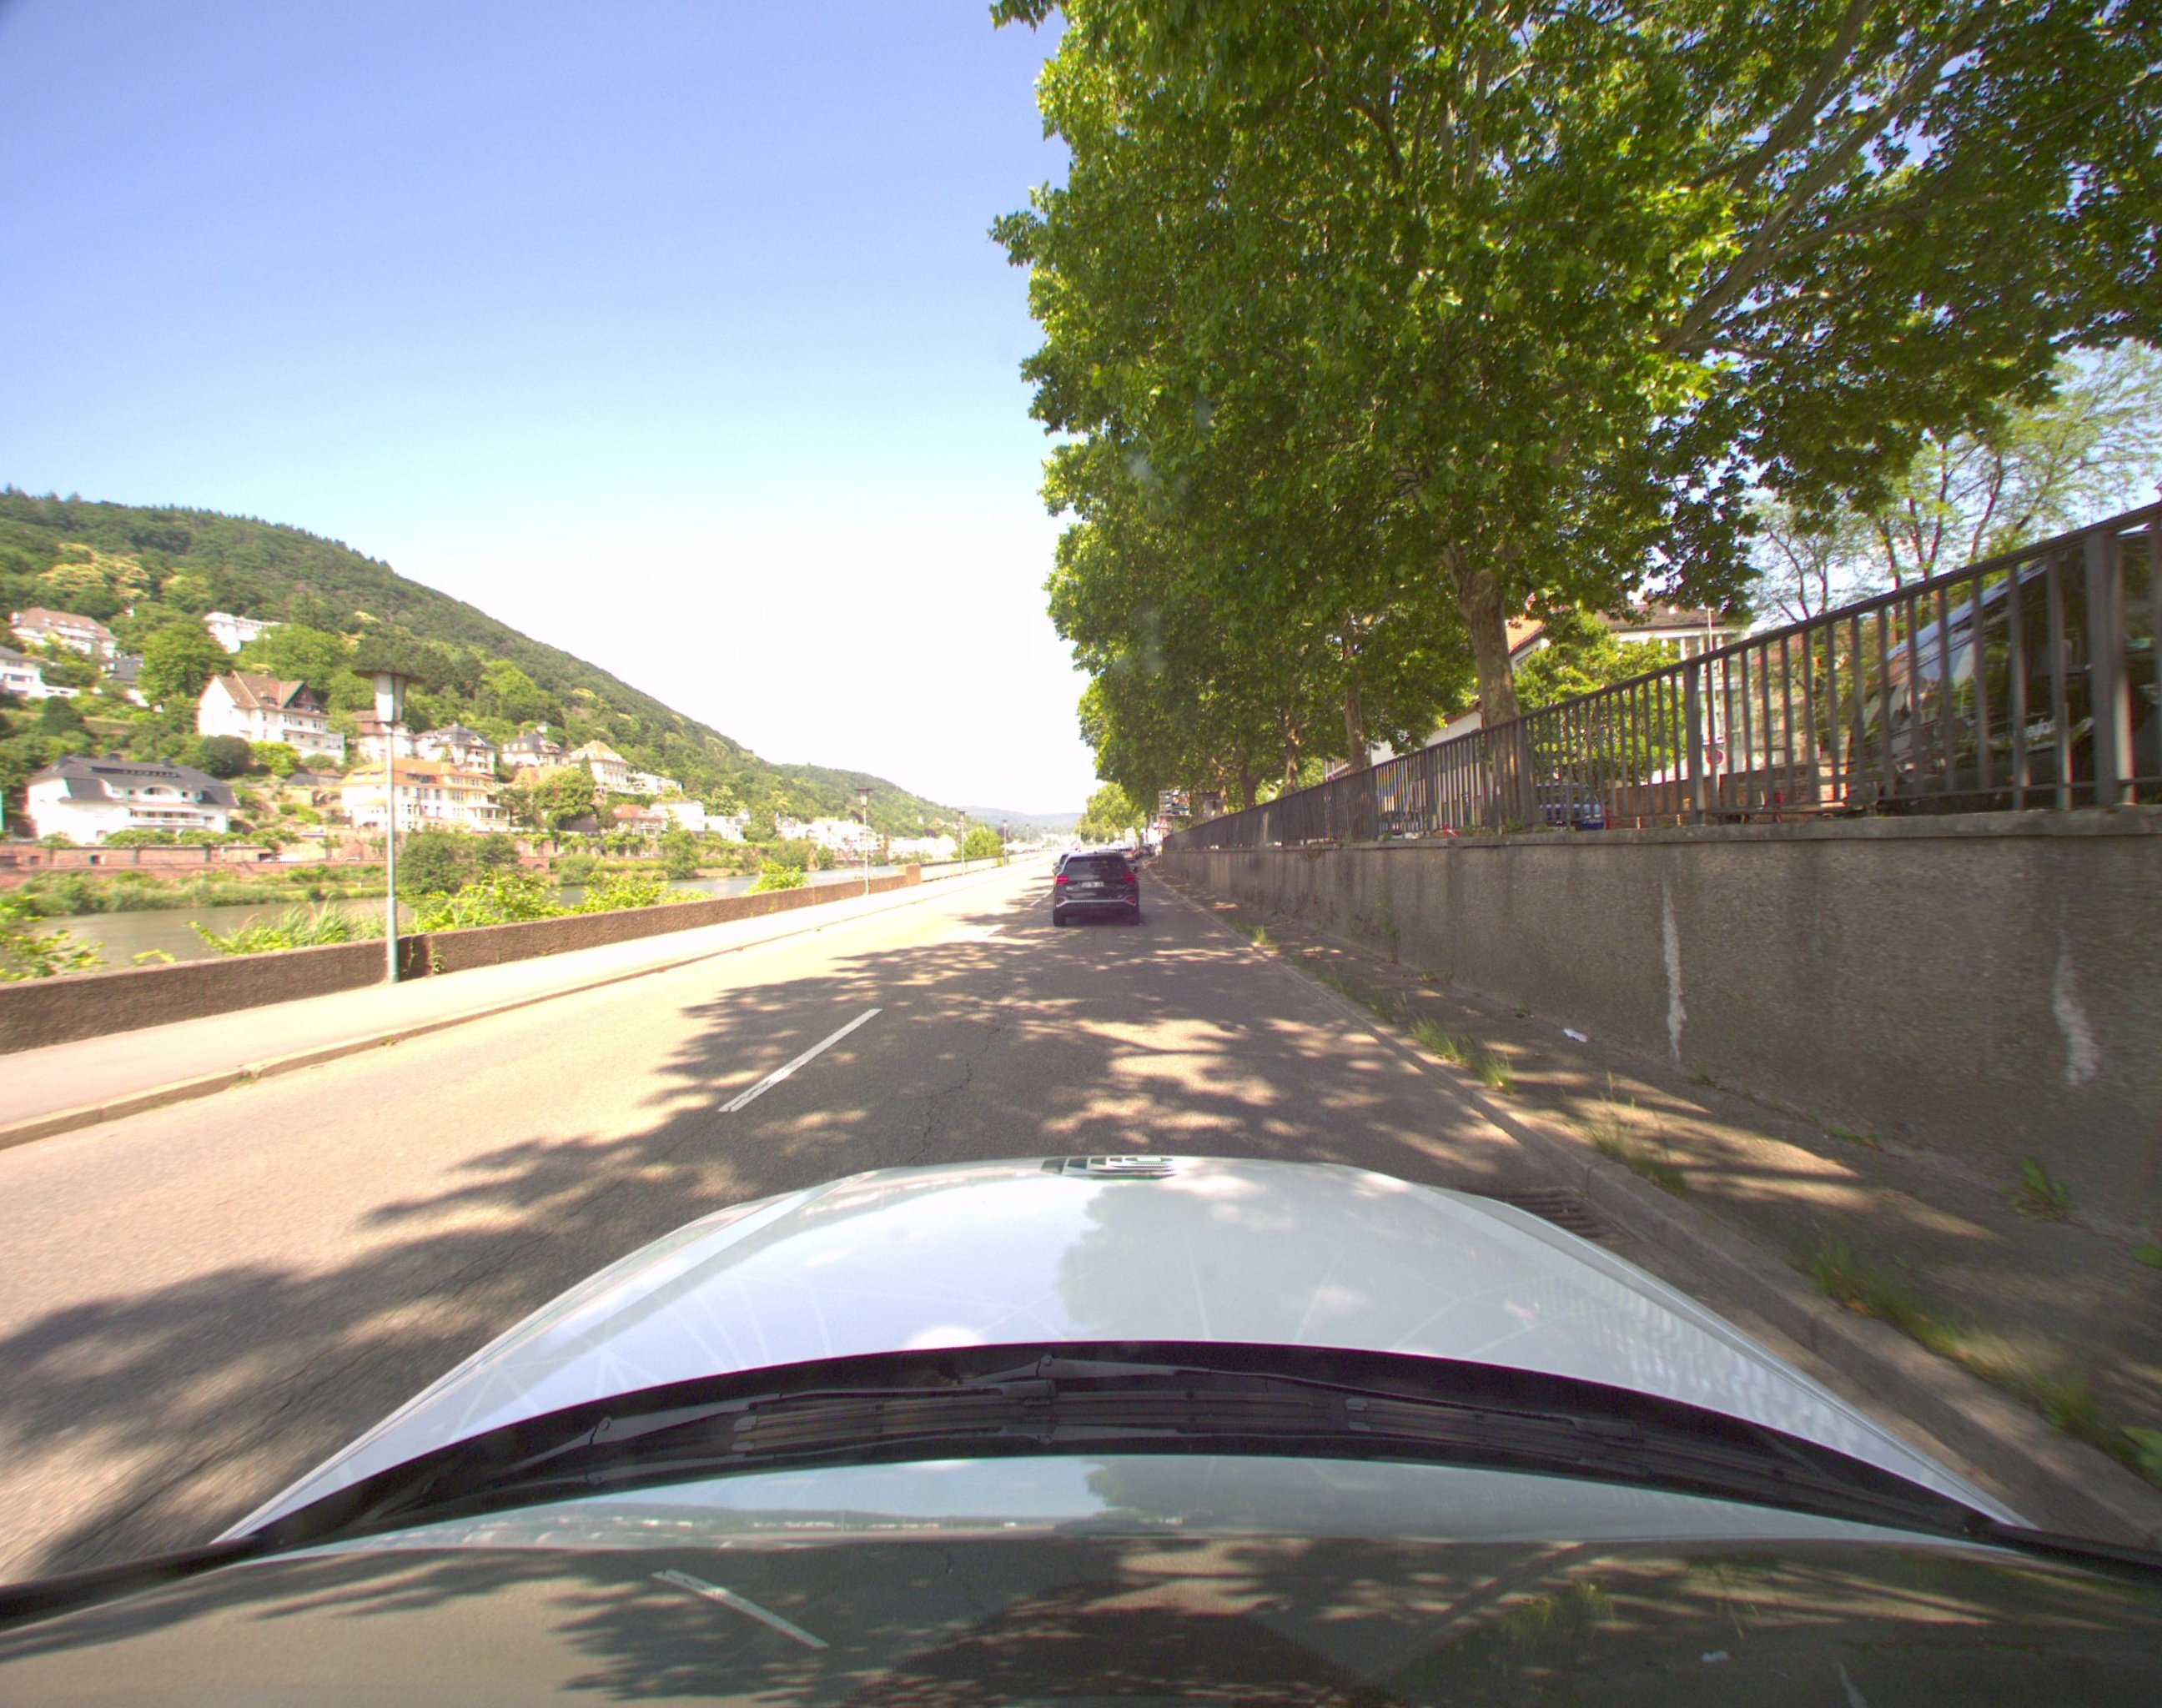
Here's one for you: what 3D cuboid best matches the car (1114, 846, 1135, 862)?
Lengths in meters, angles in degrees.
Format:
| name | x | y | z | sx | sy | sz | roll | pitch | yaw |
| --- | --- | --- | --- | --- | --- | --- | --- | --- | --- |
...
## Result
| name | x | y | z | sx | sy | sz | roll | pitch | yaw |
| --- | --- | --- | --- | --- | --- | --- | --- | --- | --- |
| car | 3.939 | 0.002 | 74.577 | 1.822 | 1.444 | 4.001 | -1 | 0 | 1 |

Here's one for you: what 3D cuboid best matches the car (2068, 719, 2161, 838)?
| name | x | y | z | sx | sy | sz | roll | pitch | yaw |
| --- | --- | --- | --- | --- | --- | --- | --- | --- | --- |
| car | 14.679 | -1.021 | 9.198 | 1.829 | 1.512 | 4.434 | -4 | 0 | 4 |

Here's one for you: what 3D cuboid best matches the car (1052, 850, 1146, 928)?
| name | x | y | z | sx | sy | sz | roll | pitch | yaw |
| --- | --- | --- | --- | --- | --- | --- | --- | --- | --- |
| car | 0.405 | 0.672 | 17.949 | 1.822 | 1.486 | 4.001 | -1 | 0 | 1 |

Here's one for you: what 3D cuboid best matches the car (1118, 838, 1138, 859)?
| name | x | y | z | sx | sy | sz | roll | pitch | yaw |
| --- | --- | --- | --- | --- | --- | --- | --- | --- | --- |
| car | 5.226 | -0.590 | 91.418 | 1.986 | 2.169 | 4.001 | -4 | 0 | 1 |

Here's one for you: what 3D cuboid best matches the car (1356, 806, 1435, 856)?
| name | x | y | z | sx | sy | sz | roll | pitch | yaw |
| --- | --- | --- | --- | --- | --- | --- | --- | --- | --- |
| car | 10.298 | -0.713 | 26.519 | 1.757 | 1.469 | 4.025 | -1 | 0 | 30 |

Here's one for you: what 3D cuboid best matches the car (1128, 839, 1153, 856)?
| name | x | y | z | sx | sy | sz | roll | pitch | yaw |
| --- | --- | --- | --- | --- | --- | --- | --- | --- | --- |
| car | 8.195 | -0.865 | 112.392 | 3.087 | 2.013 | 5.826 | -5 | 0 | 1 |

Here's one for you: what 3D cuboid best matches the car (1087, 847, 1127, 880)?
| name | x | y | z | sx | sy | sz | roll | pitch | yaw |
| --- | --- | --- | --- | --- | --- | --- | --- | --- | --- |
| car | 1.244 | 0.430 | 39.748 | 1.822 | 1.486 | 4.001 | -1 | 0 | 1 |

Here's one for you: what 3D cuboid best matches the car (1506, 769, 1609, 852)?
| name | x | y | z | sx | sy | sz | roll | pitch | yaw |
| --- | --- | --- | --- | --- | --- | --- | --- | --- | --- |
| car | 9.880 | -0.816 | 17.100 | 1.633 | 1.500 | 3.841 | -2 | 0 | 27 |

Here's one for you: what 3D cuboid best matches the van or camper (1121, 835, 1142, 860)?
| name | x | y | z | sx | sy | sz | roll | pitch | yaw |
| --- | --- | --- | --- | --- | --- | --- | --- | --- | --- |
| van or camper | 6.241 | -0.835 | 100.679 | 2.300 | 2.847 | 4.249 | -4 | 0 | 3 |

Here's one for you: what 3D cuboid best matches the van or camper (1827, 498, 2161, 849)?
| name | x | y | z | sx | sy | sz | roll | pitch | yaw |
| --- | --- | --- | --- | --- | --- | --- | --- | --- | --- |
| van or camper | 9.960 | -1.225 | 8.123 | 2.315 | 2.184 | 7.402 | 0 | -1 | 31 |

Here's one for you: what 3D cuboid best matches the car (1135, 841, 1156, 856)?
| name | x | y | z | sx | sy | sz | roll | pitch | yaw |
| --- | --- | --- | --- | --- | --- | --- | --- | --- | --- |
| car | 9.626 | -0.812 | 122.600 | 2.652 | 2.013 | 5.826 | -5 | 0 | 1 |

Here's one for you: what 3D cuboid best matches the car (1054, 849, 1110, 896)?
| name | x | y | z | sx | sy | sz | roll | pitch | yaw |
| --- | --- | --- | --- | --- | --- | --- | --- | --- | --- |
| car | 0.081 | 0.605 | 28.570 | 1.822 | 1.511 | 4.001 | -1 | 0 | 1 |
